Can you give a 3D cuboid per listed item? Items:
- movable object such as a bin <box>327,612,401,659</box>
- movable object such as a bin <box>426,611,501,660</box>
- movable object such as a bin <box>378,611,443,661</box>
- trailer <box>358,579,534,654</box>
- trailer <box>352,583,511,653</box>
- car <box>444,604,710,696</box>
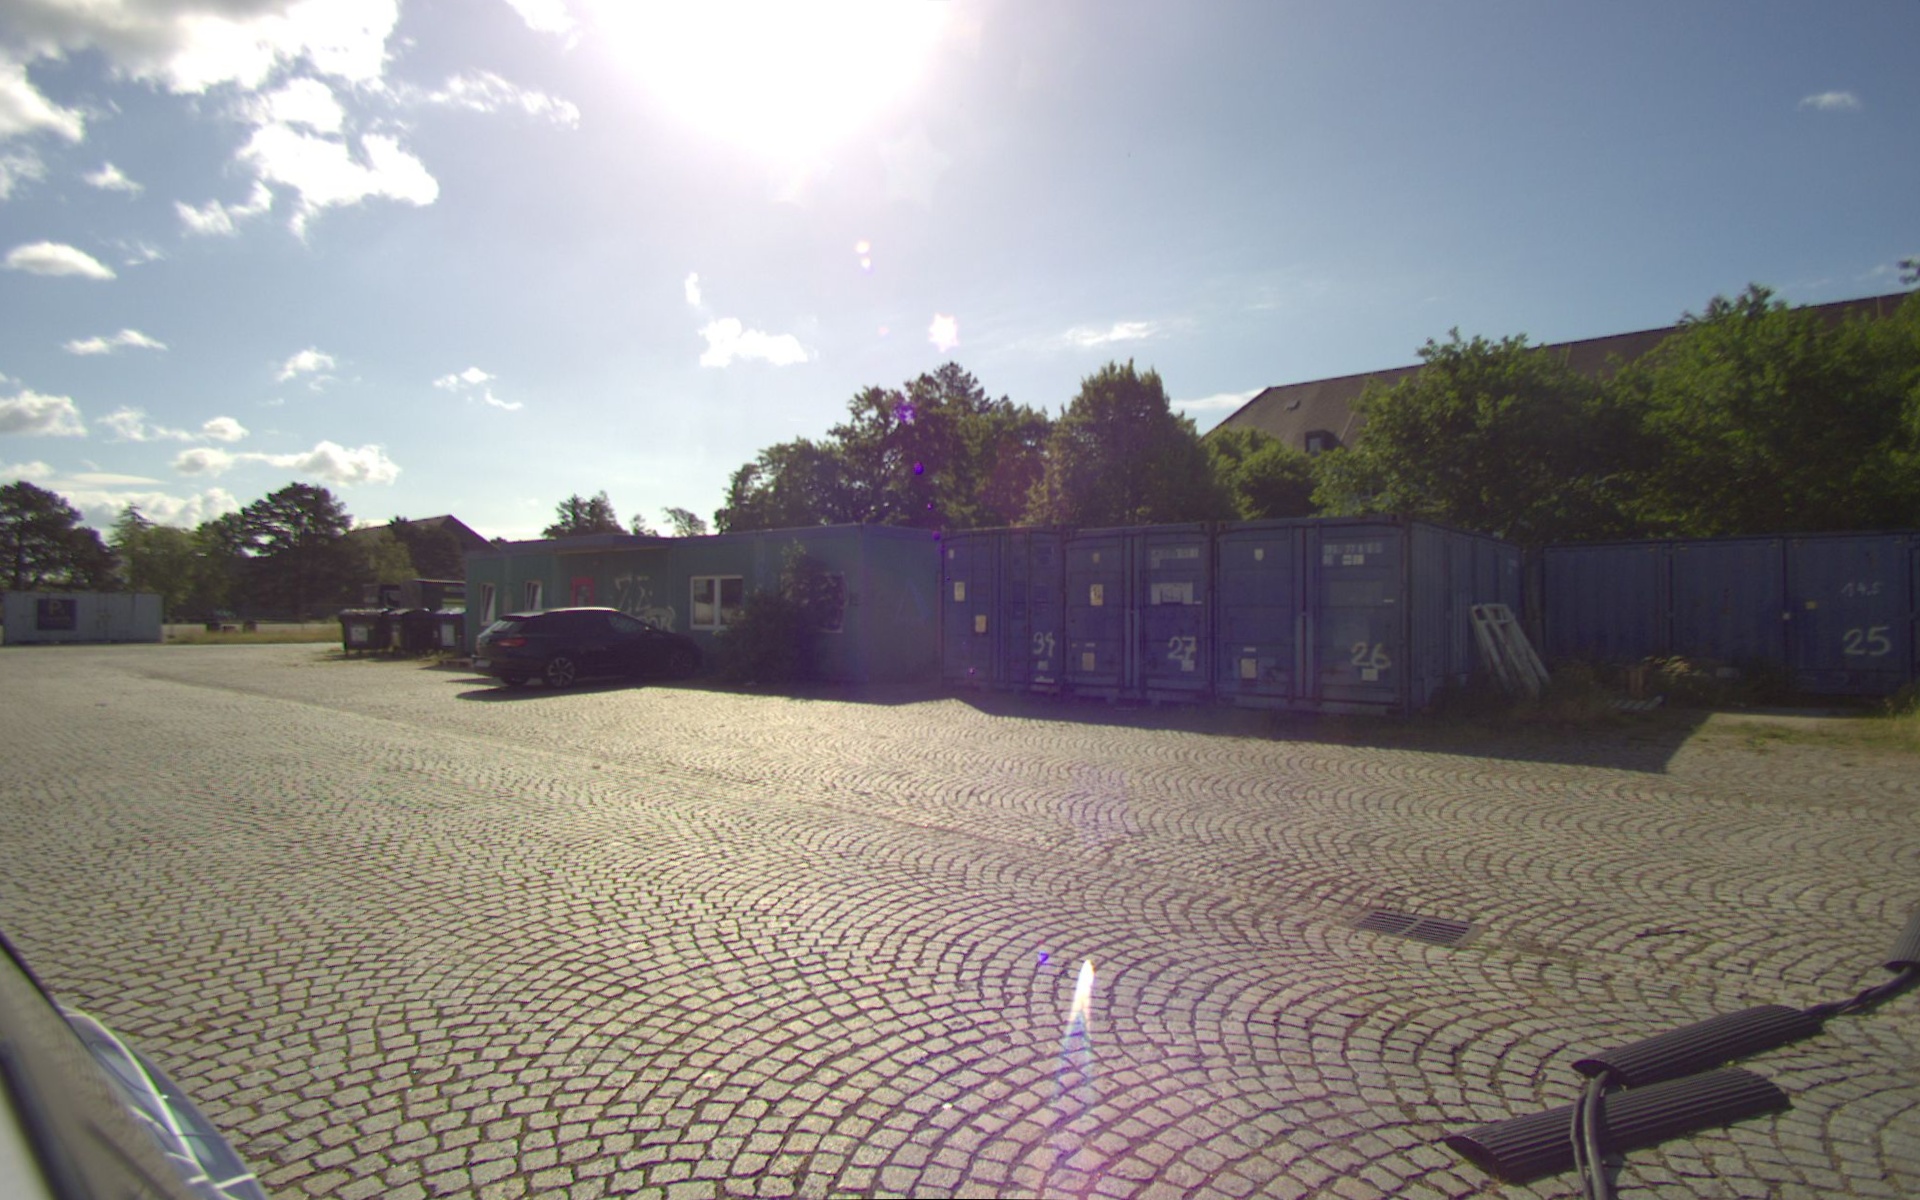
[{"bbox_3d":[-18.445,1.084,31.377,1.513,1.397,1.387,0,-1,-3],"label":"movable object such as a bin"},{"bbox_3d":[-14.676,1.017,29.951,1.529,1.397,1.372,-1,-1,29],"label":"movable object such as a bin"},{"bbox_3d":[-16.484,1.060,30.373,1.536,1.433,1.282,-1,-1,42],"label":"movable object such as a bin"},{"bbox_3d":[-17.322,0.548,34.316,2.092,2.372,4.912,-1,-1,37],"label":"trailer"},{"bbox_3d":[-18.888,0.632,36.303,2.137,2.315,4.605,-1,-1,42],"label":"trailer"},{"bbox_3d":[-7.193,0.854,19.382,1.997,1.475,4.373,-1,0,38],"label":"car"}]
